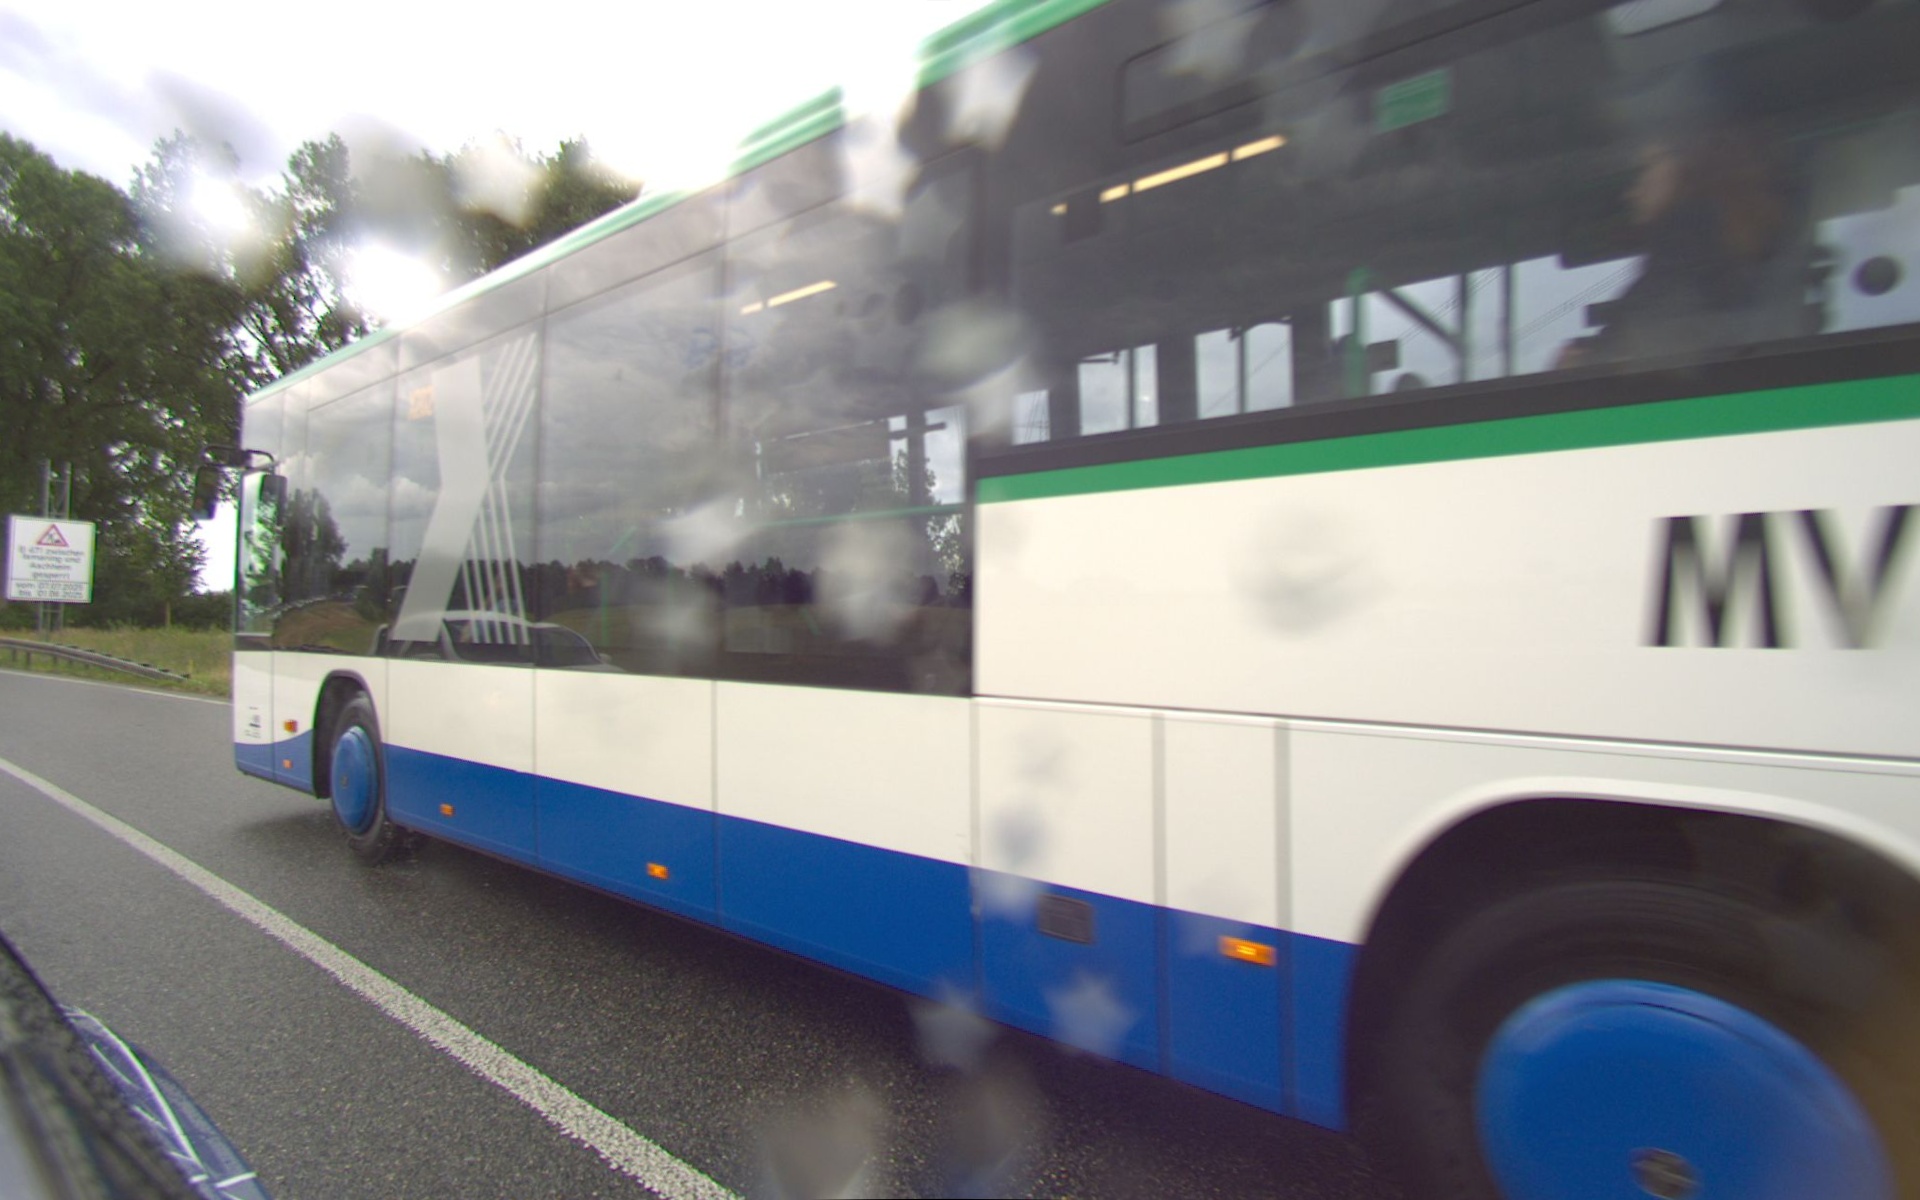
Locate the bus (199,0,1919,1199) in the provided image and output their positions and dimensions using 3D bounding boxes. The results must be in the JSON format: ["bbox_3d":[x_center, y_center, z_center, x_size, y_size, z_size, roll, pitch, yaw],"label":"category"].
[{"bbox_3d":[-0.107,-0.199,4.517,12.495,3.323,2.729,-1,-1,41],"label":"bus"}]
